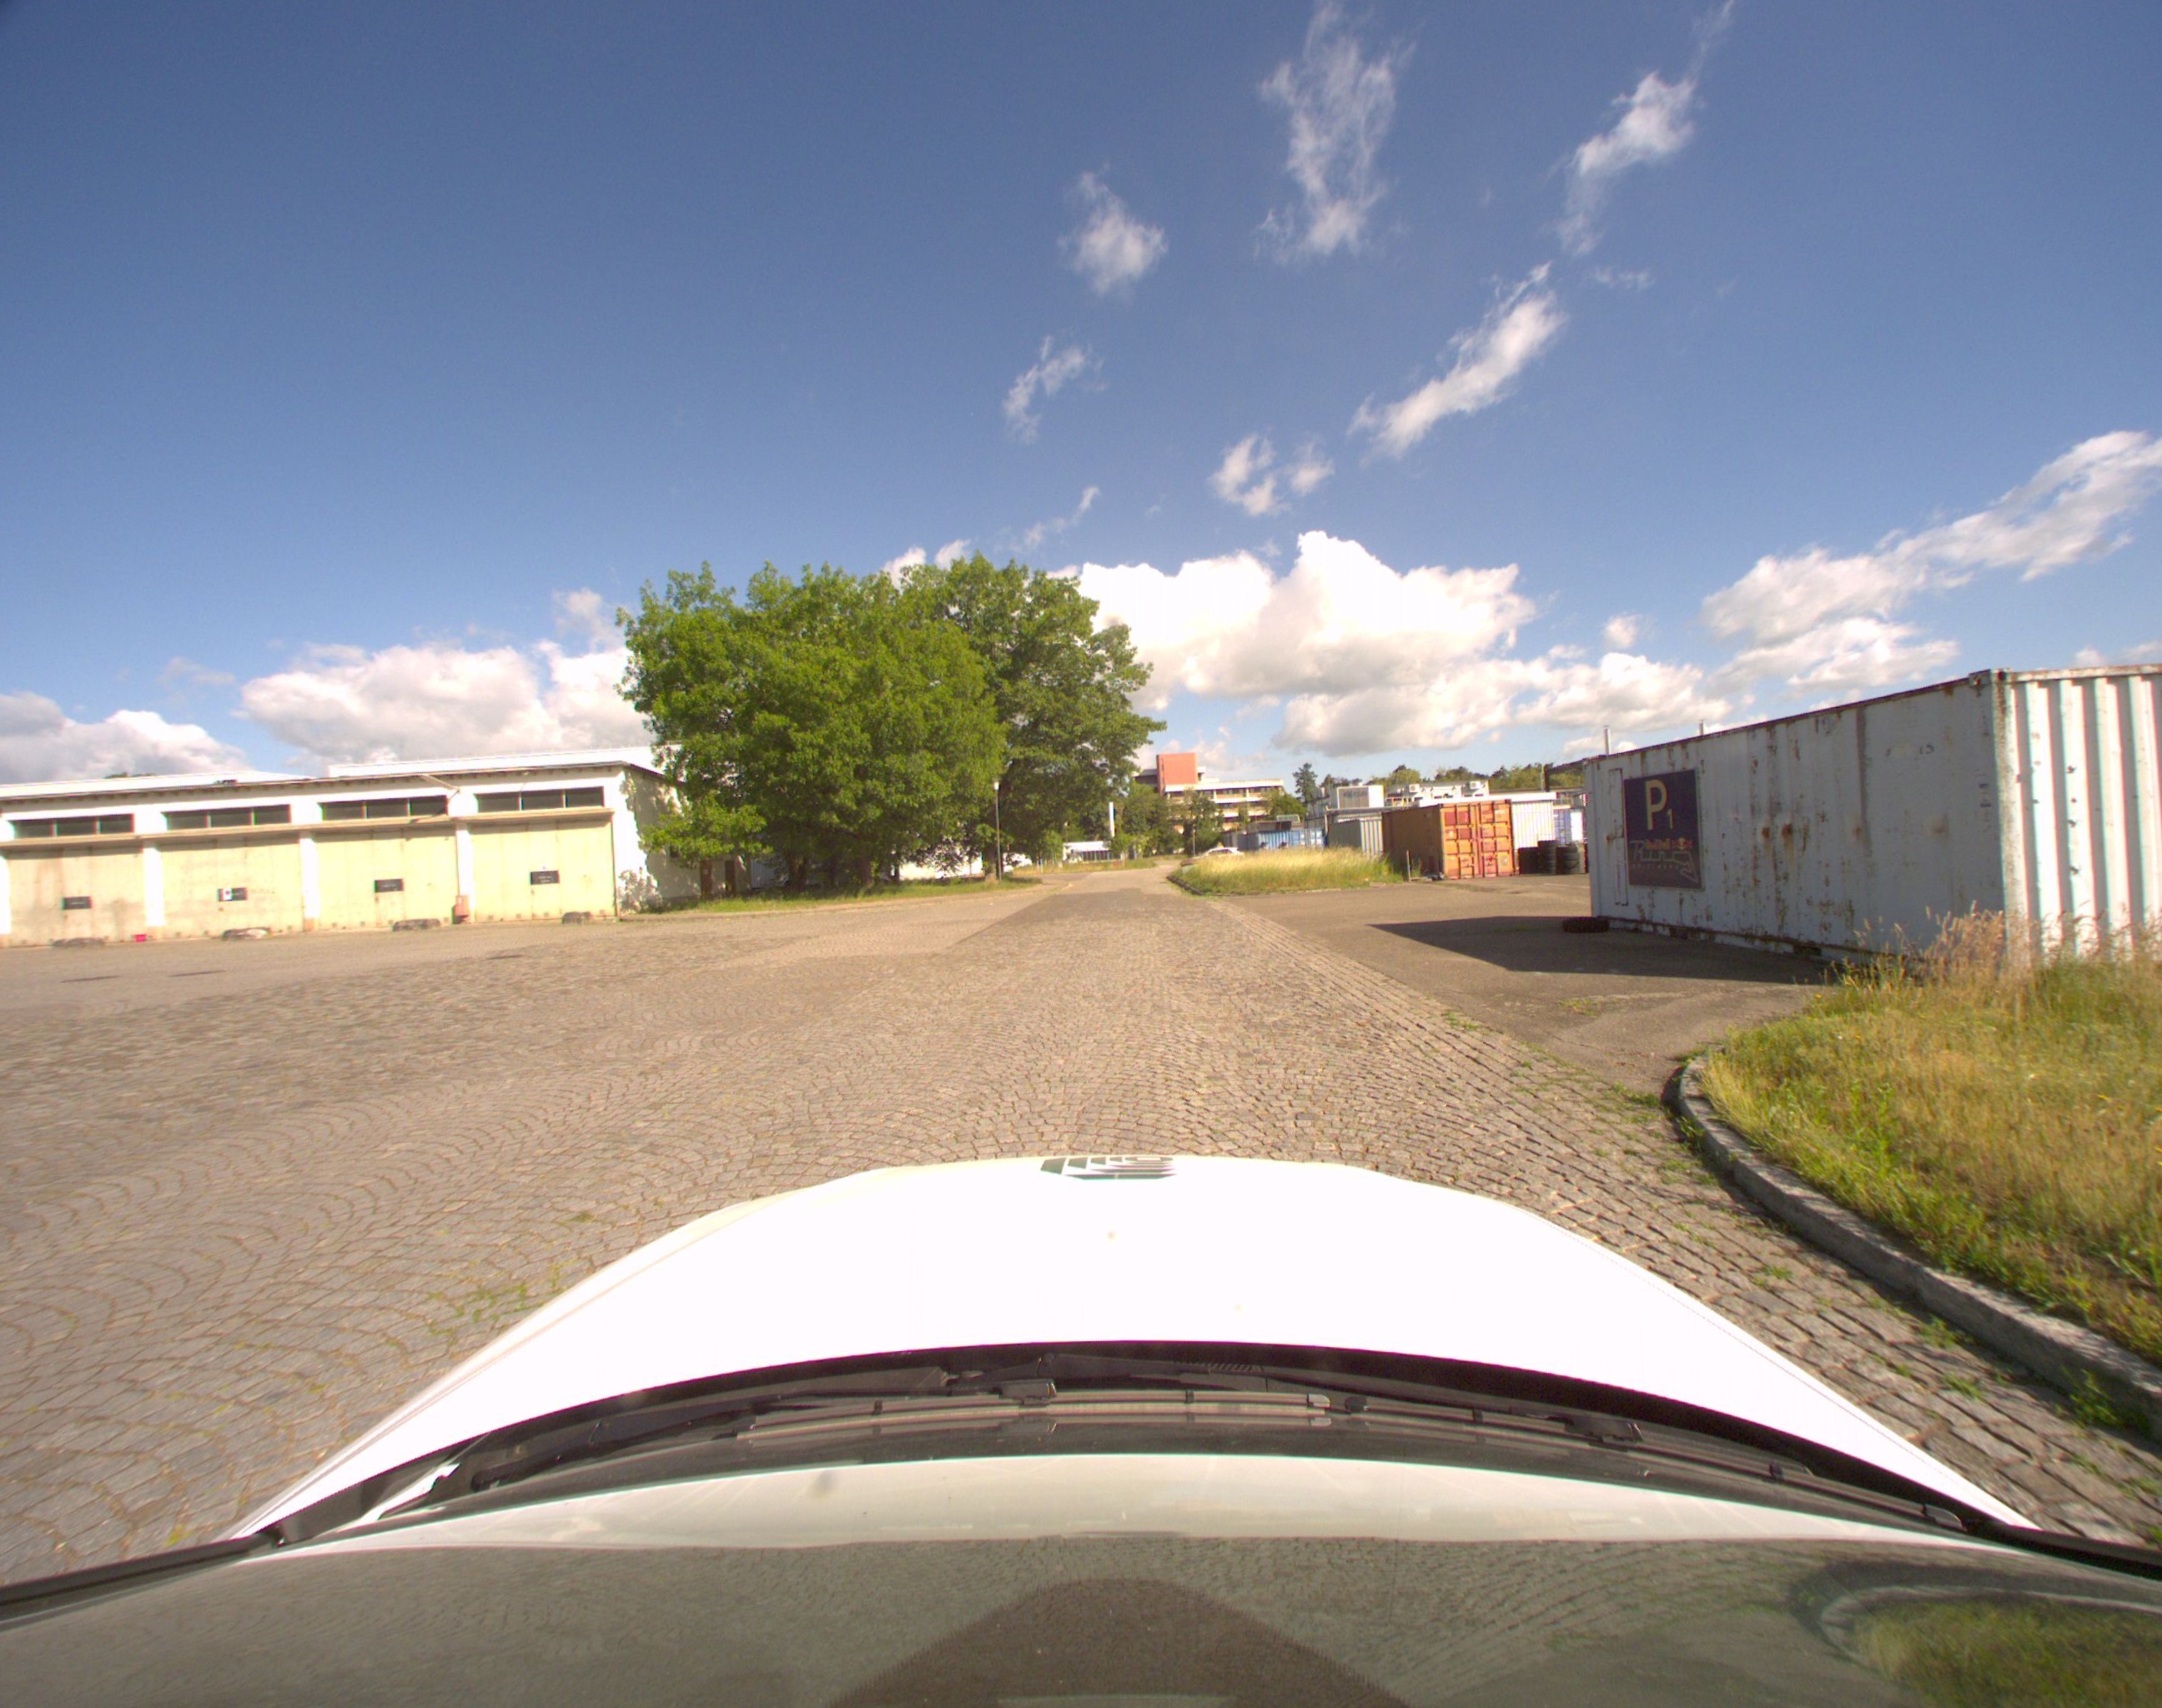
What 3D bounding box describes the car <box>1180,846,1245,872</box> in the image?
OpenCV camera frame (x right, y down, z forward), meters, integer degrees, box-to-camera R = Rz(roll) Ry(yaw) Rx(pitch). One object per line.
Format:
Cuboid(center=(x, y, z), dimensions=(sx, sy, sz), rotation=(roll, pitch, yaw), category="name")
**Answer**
Cuboid(center=(9.798, 0.365, 60.760), dimensions=(4.488, 1.647, 2.001), rotation=(-3, 0, 1), category="car")
